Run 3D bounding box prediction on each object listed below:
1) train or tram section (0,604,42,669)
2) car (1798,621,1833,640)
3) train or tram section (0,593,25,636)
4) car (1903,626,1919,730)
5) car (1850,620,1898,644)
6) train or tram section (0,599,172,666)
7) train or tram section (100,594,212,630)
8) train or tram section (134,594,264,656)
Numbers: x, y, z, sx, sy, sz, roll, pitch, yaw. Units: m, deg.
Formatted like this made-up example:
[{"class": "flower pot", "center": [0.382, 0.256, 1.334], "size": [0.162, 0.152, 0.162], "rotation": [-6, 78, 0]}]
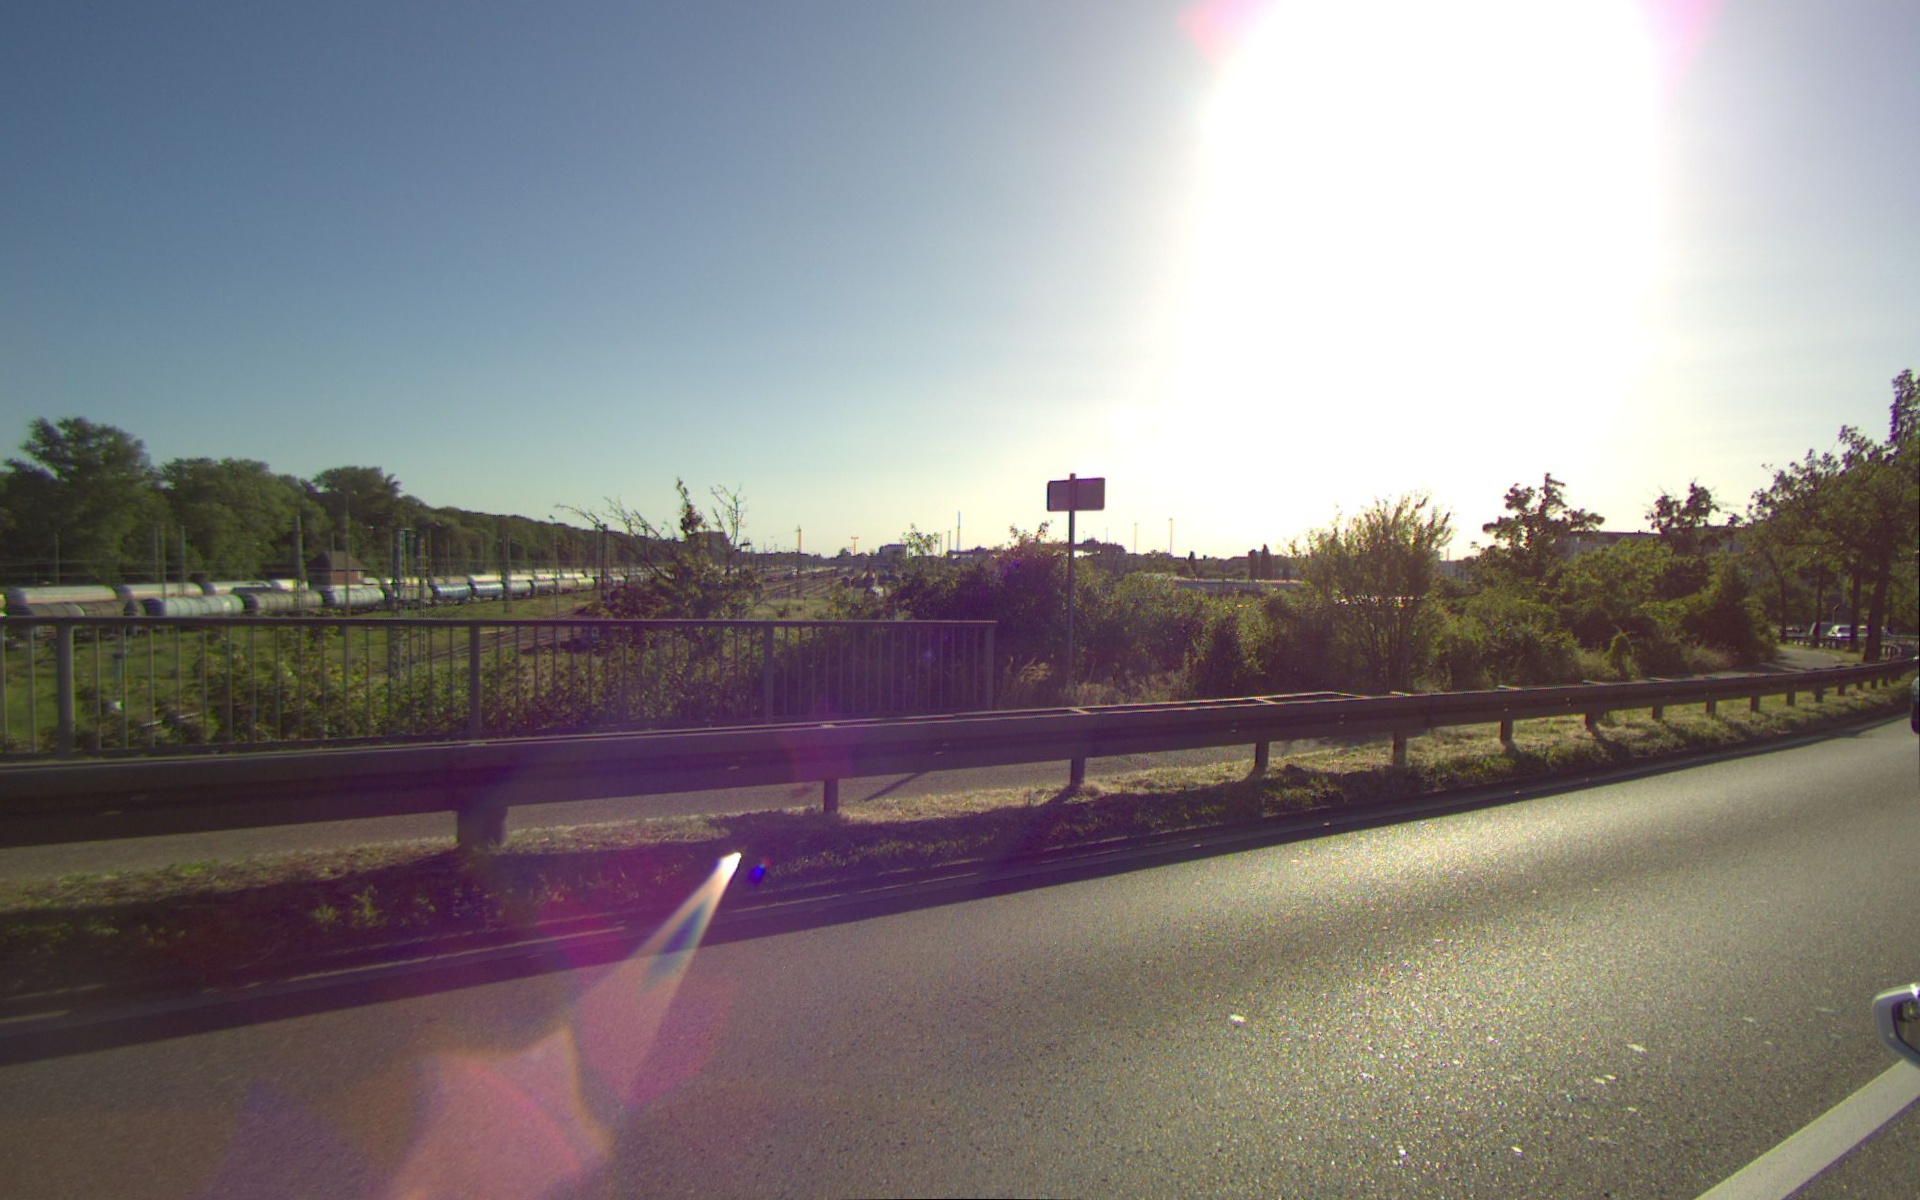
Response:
[{"class": "train or tram section", "center": [-85.939, 3.218, 84.242], "size": [3.831, 5.592, 16.494], "rotation": [1, 0, -4]}, {"class": "car", "center": [76.770, 2.699, 90.200], "size": [1.809, 1.576, 3.884], "rotation": [1, 0, 32]}, {"class": "train or tram section", "center": [-117.054, 1.705, 115.262], "size": [3.972, 5.154, 18.173], "rotation": [1, 0, -5]}, {"class": "car", "center": [15.322, 1.127, 14.697], "size": [3.795, 1.450, 1.777], "rotation": [1, 0, -40]}, {"class": "car", "center": [64.810, 2.232, 71.279], "size": [1.833, 1.606, 3.904], "rotation": [1, 0, 33]}, {"class": "train or tram section", "center": [-87.232, 3.027, 100.927], "size": [3.831, 6.089, 16.949], "rotation": [1, 0, -4]}, {"class": "train or tram section", "center": [-120.426, 1.728, 151.020], "size": [3.972, 5.154, 17.853], "rotation": [1, 0, -5]}, {"class": "train or tram section", "center": [-88.544, 2.779, 117.586], "size": [3.831, 6.699, 16.494], "rotation": [1, 0, -4]}]
